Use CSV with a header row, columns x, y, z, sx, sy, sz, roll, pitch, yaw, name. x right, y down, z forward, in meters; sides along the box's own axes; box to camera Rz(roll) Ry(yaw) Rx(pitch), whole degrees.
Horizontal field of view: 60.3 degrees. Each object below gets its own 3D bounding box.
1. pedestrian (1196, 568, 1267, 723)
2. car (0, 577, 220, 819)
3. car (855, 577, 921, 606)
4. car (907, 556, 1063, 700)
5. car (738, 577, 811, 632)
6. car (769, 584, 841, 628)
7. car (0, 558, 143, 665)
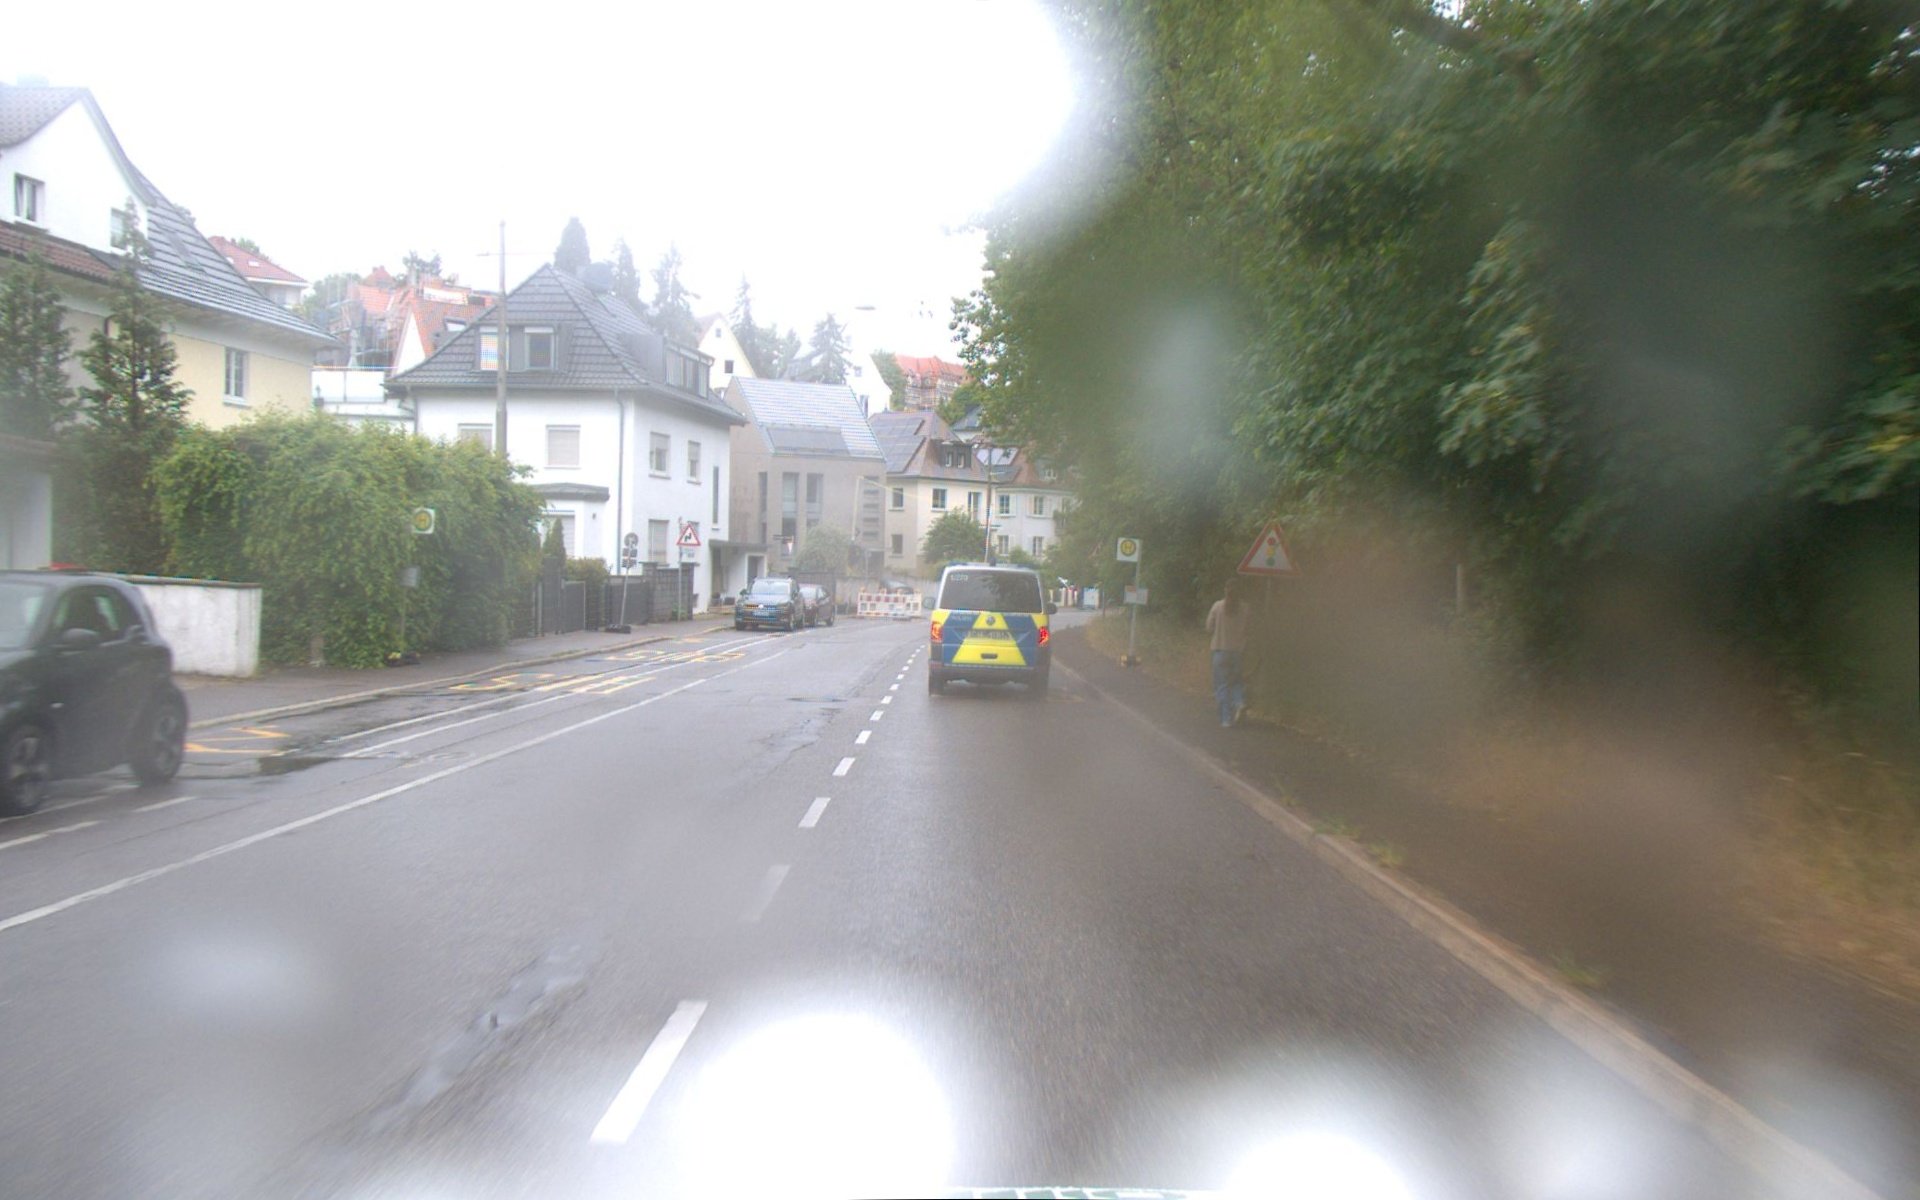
x,y,z,sx,sy,sz,roll,pitch,yaw,name
2.957,0.490,18.071,0.629,1.639,0.670,1,-1,-1,pedestrian
-6.597,0.579,11.531,1.488,1.479,3.030,0,1,1,car
-4.130,-0.485,94.759,1.820,1.468,3.947,2,2,-37,car
0.295,0.351,26.075,1.955,2.048,4.397,0,2,-6,car
-5.946,0.114,53.521,1.718,1.687,4.406,0,1,2,car
-5.480,0.184,58.857,1.582,1.465,4.234,2,1,8,car
-14.480,0.091,24.760,3.570,1.447,1.634,4,-1,0,car
